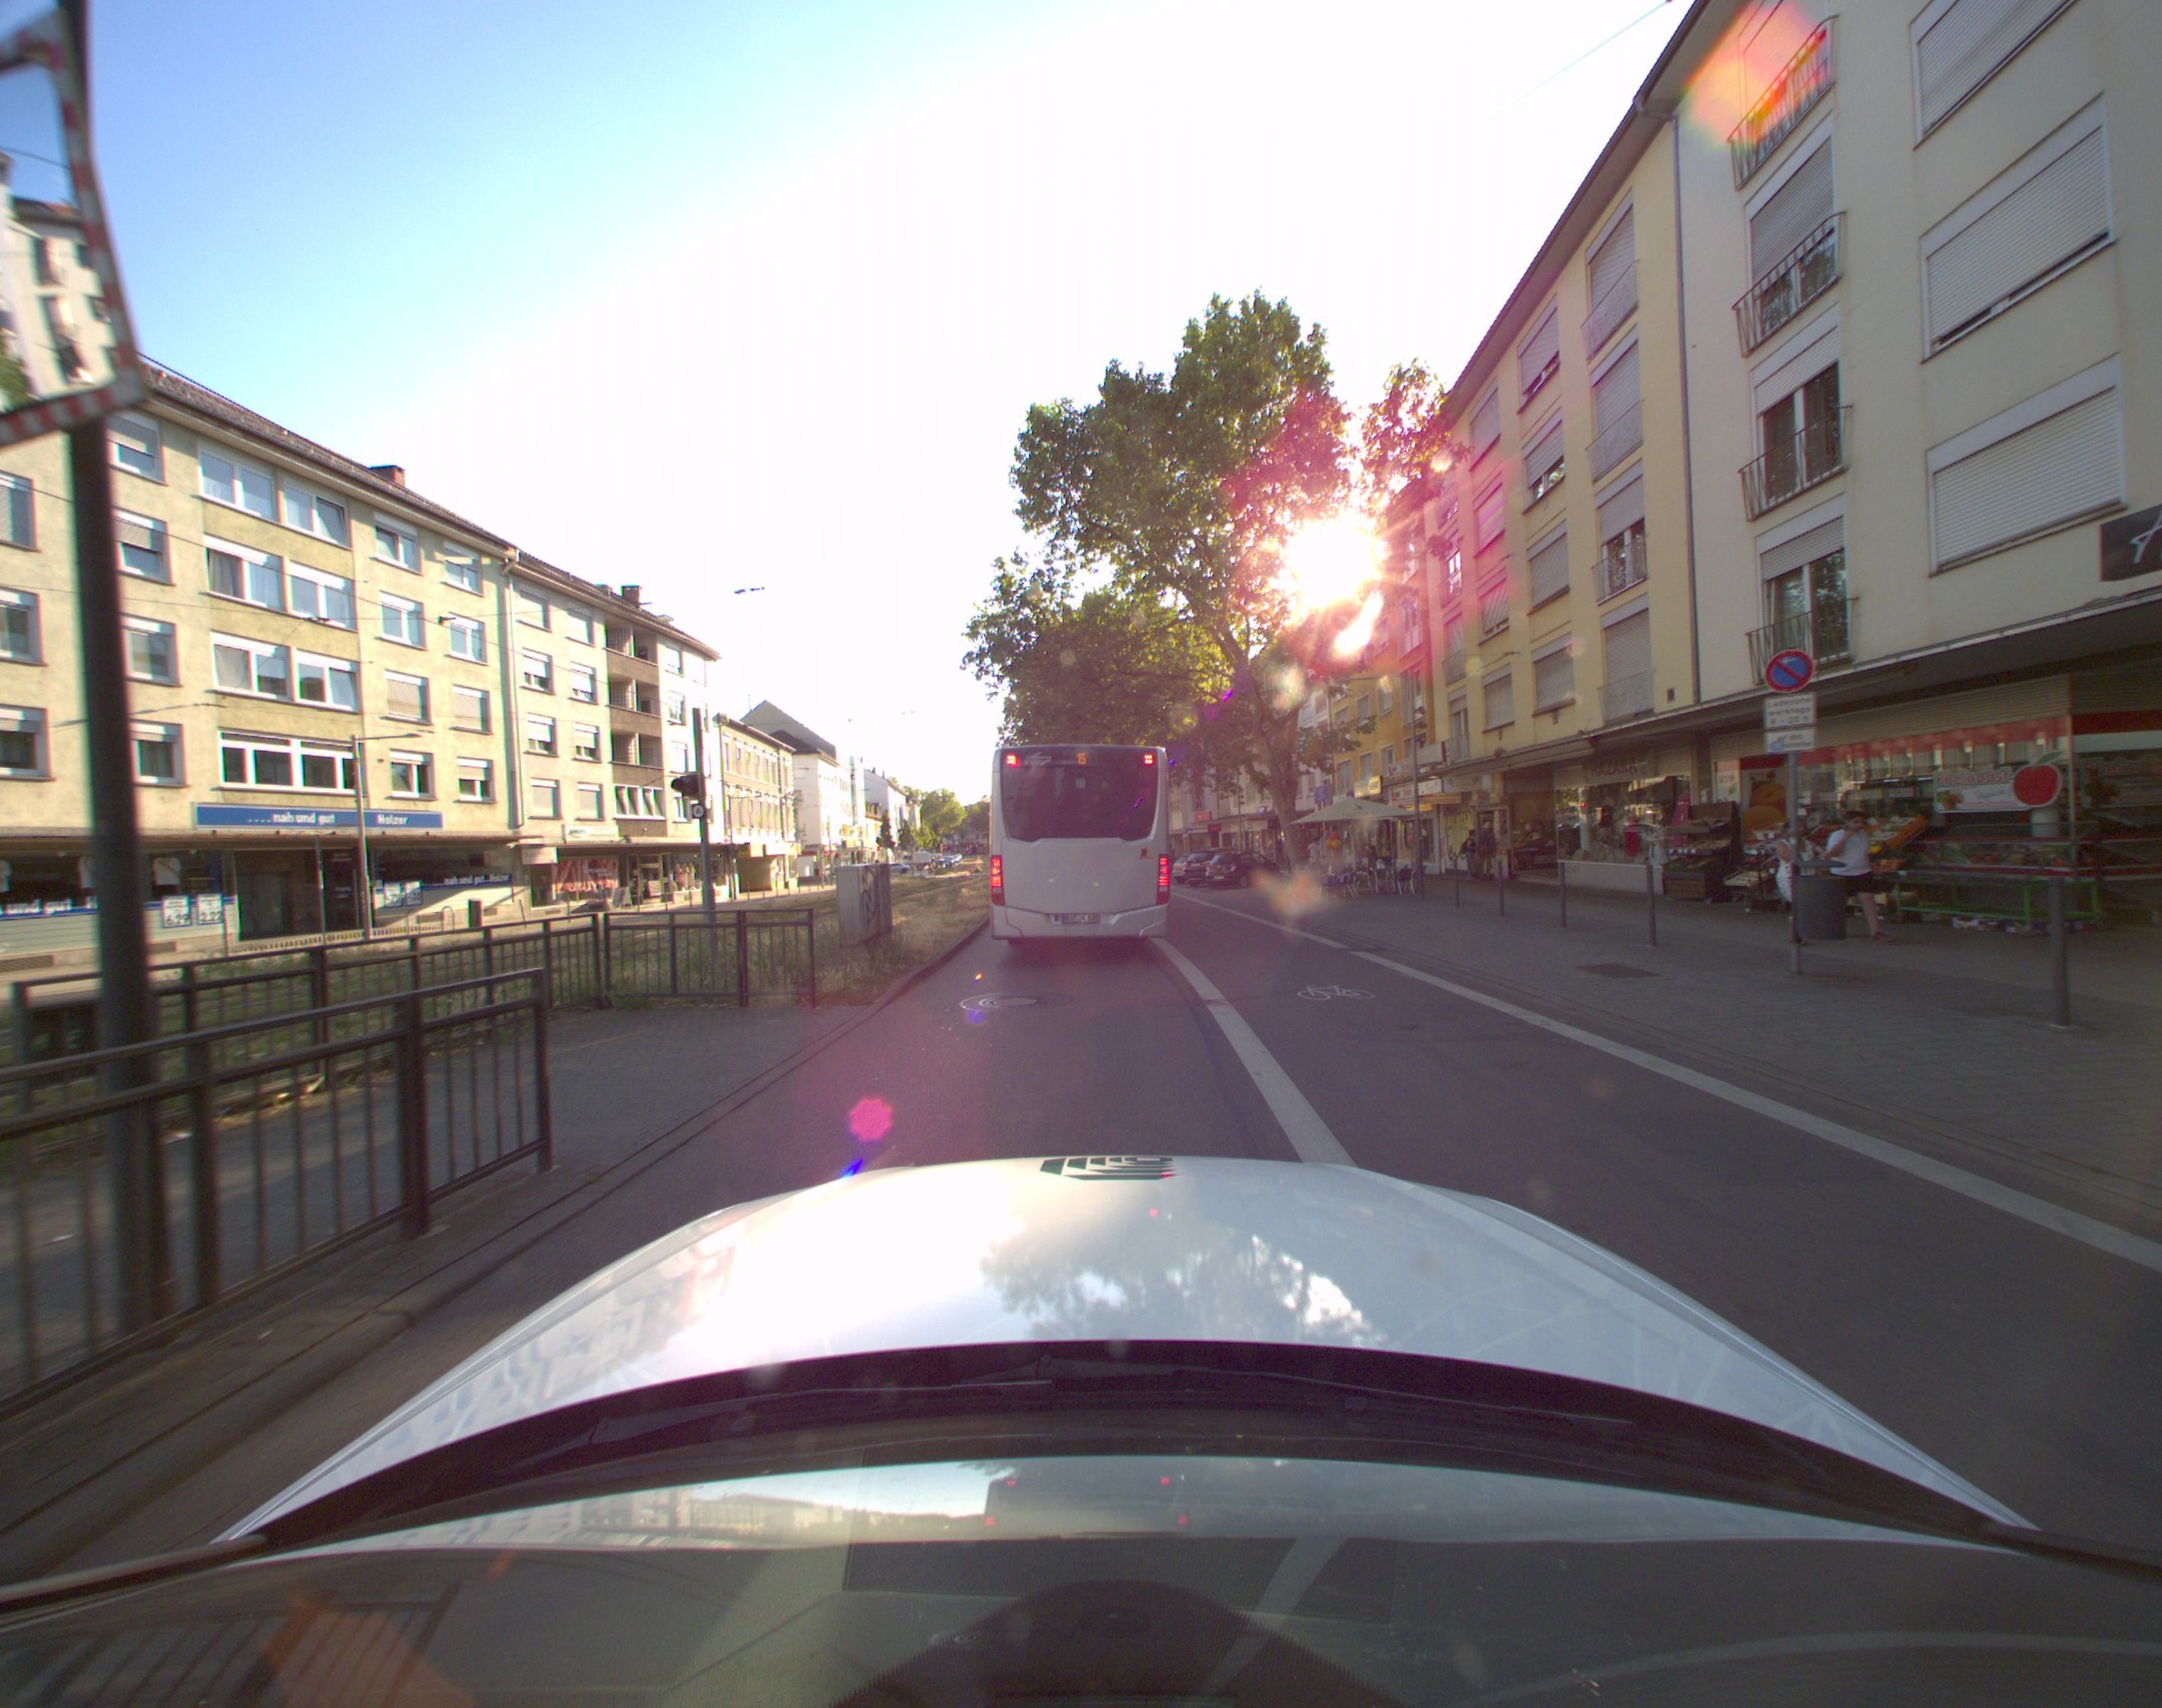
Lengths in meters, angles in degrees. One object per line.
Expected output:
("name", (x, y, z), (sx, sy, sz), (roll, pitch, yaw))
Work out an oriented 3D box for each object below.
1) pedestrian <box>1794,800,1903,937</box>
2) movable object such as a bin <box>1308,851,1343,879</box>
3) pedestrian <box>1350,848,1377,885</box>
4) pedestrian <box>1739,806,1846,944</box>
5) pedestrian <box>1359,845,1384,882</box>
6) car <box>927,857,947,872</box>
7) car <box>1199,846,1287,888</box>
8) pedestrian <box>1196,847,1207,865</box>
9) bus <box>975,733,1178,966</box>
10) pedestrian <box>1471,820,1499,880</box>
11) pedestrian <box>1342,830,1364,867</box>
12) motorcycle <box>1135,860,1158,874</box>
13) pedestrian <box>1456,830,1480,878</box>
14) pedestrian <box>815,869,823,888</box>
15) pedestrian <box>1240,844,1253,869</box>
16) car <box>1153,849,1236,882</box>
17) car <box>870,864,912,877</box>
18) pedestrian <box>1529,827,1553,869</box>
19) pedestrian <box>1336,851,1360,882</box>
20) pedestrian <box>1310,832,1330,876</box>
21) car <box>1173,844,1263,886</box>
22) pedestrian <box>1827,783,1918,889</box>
("pedestrian", (9.384, 0.173, 9.983), (0.619, 1.586, 0.627), (-5, 0, 4))
("movable object such as a bin", (9.333, 0.419, 31.114), (0.930, 1.023, 0.833), (-1, 0, -24))
("pedestrian", (9.567, 0.426, 27.642), (0.604, 1.225, 0.744), (-2, 0, -1))
("pedestrian", (8.663, 0.244, 9.943), (0.632, 1.586, 0.627), (-5, 0, 4))
("pedestrian", (10.441, 0.337, 29.288), (0.581, 1.275, 0.758), (-1, 0, -1))
("car", (-16.807, 1.238, 95.173), (1.717, 1.509, 3.474), (-5, 0, -1))
("car", (6.766, 0.514, 33.832), (3.629, 1.540, 1.720), (-3, 0, -43))
("pedestrian", (11.609, 0.176, 78.387), (0.747, 1.679, 0.833), (-3, 2, -8))
("bus", (-0.006, -0.078, 14.579), (2.669, 3.083, 7.115), (-1, 0, 1))
("pedestrian", (12.534, -0.123, 25.273), (0.629, 1.804, 0.631), (-3, 0, 34))
("pedestrian", (13.749, -0.295, 41.187), (0.703, 1.791, 0.788), (-6, 0, 4))
("motorcycle", (4.749, 0.947, 58.774), (1.568, 0.892, 0.543), (-3, 0, -5))
("pedestrian", (12.736, 0.004, 26.782), (0.619, 1.546, 0.641), (-3, 0, 29))
("pedestrian", (-23.676, 2.186, 73.543), (0.424, 1.713, 0.508), (-3, 0, 2))
("pedestrian", (12.320, 0.191, 60.615), (0.778, 1.794, 0.763), (-3, 0, -2))
("car", (5.840, 0.587, 41.545), (4.199, 1.451, 1.788), (-3, 0, -40))
("car", (-23.749, 2.013, 101.832), (4.574, 1.412, 1.977), (-3, 0, -38))
("pedestrian", (14.812, -0.192, 26.213), (0.424, 1.296, 0.508), (-3, 0, 2))
("pedestrian", (9.833, 0.444, 30.004), (0.581, 1.115, 0.750), (-1, 0, -1))
("pedestrian", (9.914, 0.002, 33.769), (0.518, 1.832, 0.471), (-3, 0, -24))
("car", (6.262, 0.474, 37.029), (4.175, 1.681, 1.787), (-3, 0, -43))
("pedestrian", (13.429, -0.297, 13.846), (0.681, 1.744, 0.881), (-1, 0, 2))
